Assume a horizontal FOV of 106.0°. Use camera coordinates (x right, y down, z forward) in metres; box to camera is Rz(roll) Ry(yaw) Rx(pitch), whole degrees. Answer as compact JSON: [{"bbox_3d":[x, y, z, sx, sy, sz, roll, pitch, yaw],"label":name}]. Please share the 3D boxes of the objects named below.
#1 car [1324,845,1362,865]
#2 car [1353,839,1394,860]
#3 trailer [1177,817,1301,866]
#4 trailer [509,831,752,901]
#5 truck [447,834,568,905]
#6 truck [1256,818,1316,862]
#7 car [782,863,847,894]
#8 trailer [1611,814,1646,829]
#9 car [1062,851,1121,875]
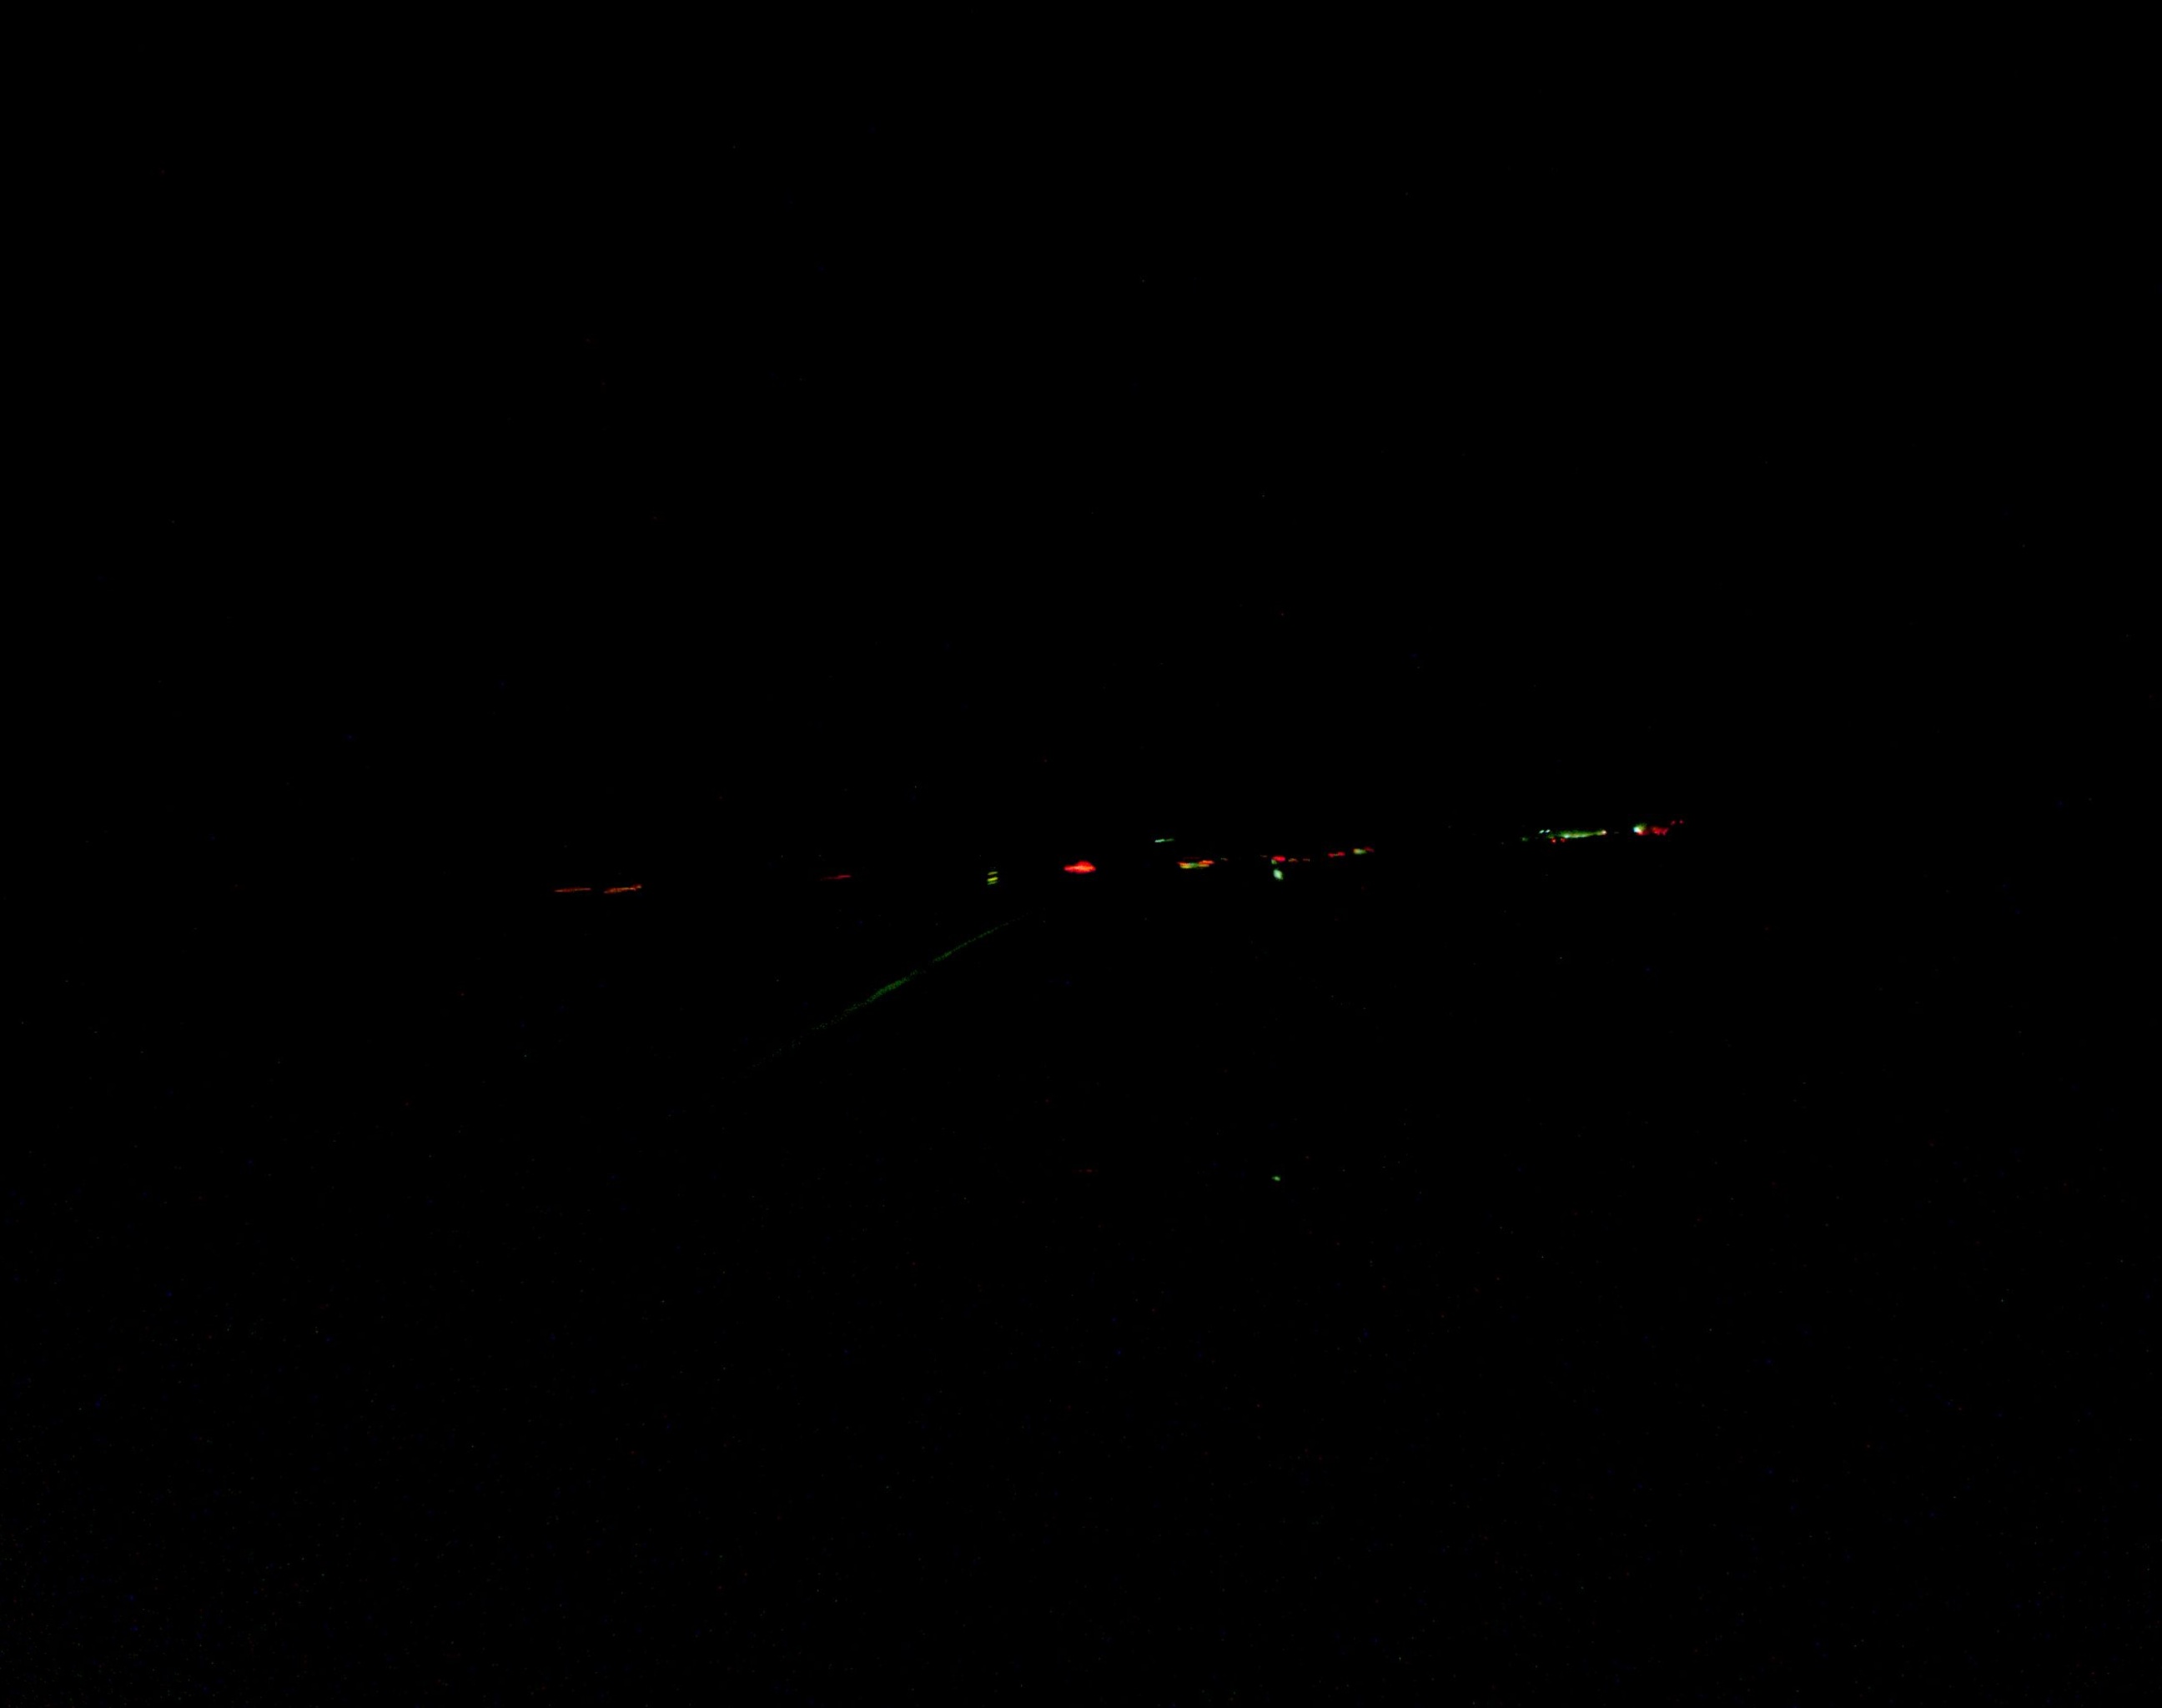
[{"bbox_3d":[27.837,0.067,86.477,4.022,2.013,1.976,-3,1,-42],"label":"car"},{"bbox_3d":[27.289,-0.414,75.954,4.023,1.818,1.976,-3,1,-43],"label":"car"},{"bbox_3d":[13.420,-1.119,67.777,13.729,3.724,2.568,-2,1,-43],"label":"trailer"},{"bbox_3d":[-30.061,0.607,55.354,14.091,4.028,2.746,-3,1,-41],"label":"trailer"},{"bbox_3d":[-35.514,0.849,50.527,5.780,4.028,2.746,-2,1,-41],"label":"truck"},{"bbox_3d":[18.200,-1.251,72.267,5.489,3.711,2.565,-1,1,-43],"label":"truck"},{"bbox_3d":[-19.558,1.733,59.786,4.022,2.013,1.976,-3,1,-43],"label":"car"},{"bbox_3d":[102.973,-6.082,153.001,12.931,2.699,2.663,-3,1,-43],"label":"trailer"},{"bbox_3d":[0.800,0.602,59.269,4.021,1.618,1.977,-1,1,-40],"label":"car"}]
